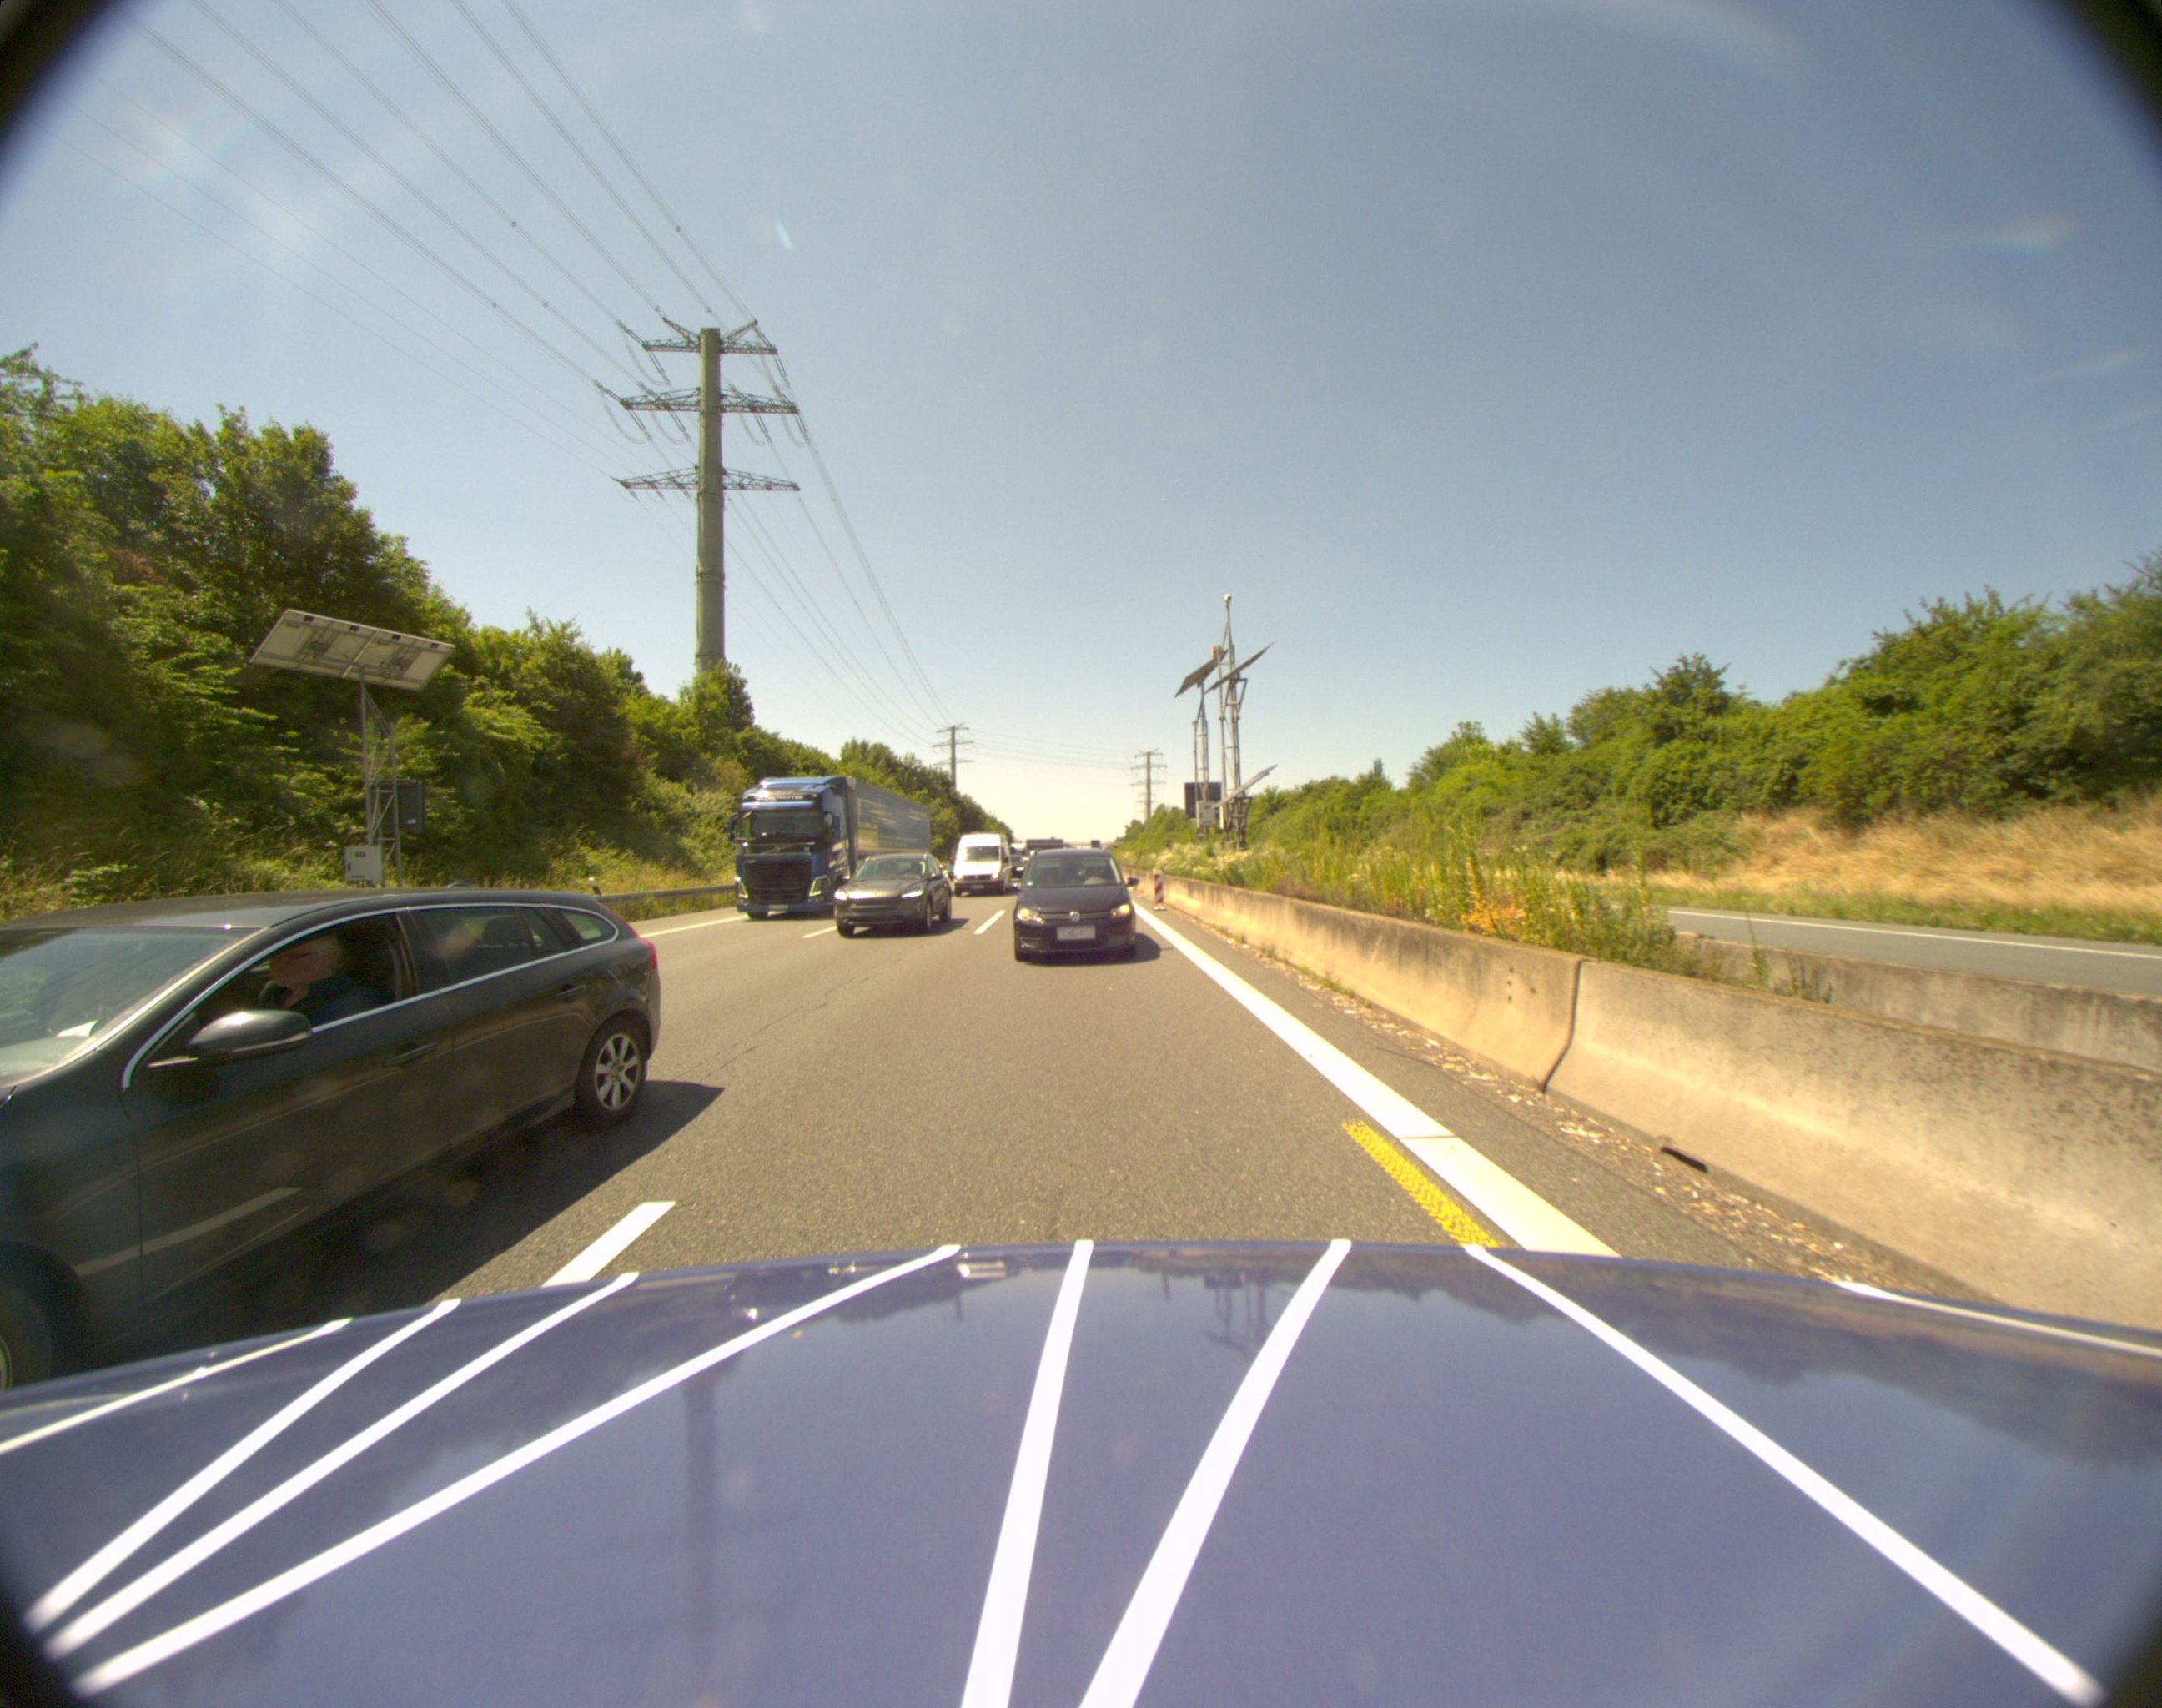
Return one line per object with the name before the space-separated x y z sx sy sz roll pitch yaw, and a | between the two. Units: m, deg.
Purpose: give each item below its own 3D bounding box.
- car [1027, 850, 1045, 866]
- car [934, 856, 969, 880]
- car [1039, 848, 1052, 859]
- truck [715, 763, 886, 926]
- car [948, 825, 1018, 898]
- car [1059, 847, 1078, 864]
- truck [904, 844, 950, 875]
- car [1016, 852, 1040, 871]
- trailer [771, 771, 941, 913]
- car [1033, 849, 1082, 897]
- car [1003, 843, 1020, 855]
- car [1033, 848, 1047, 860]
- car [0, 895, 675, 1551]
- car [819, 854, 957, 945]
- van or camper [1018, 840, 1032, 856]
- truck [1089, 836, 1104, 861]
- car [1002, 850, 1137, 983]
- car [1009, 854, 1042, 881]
car | -4.826 0.425 81.848 1.720 1.510 3.873 -2 1 0
car | -9.159 0.942 53.942 1.720 1.510 3.873 -2 1 0
car | -5.578 -0.103 119.800 1.720 1.510 3.873 -2 1 0
truck | -7.982 -0.281 22.505 2.792 4.121 5.635 -2 1 0
car | -3.997 0.244 32.259 2.042 2.703 6.704 -2 1 -1
car | -1.409 0.143 84.286 1.973 1.682 3.873 -2 1 0
truck | -11.587 0.354 57.614 2.253 2.155 5.728 -2 1 0
car | -4.500 0.613 64.855 1.720 1.510 3.873 -2 1 0
trailer | -8.060 -0.442 29.713 2.774 4.239 12.875 -2 1 -1
car | -0.861 0.667 29.618 1.700 1.641 4.219 -2 1 -1
car | -8.901 -0.672 97.663 1.720 1.510 3.873 -2 1 0
car | -5.749 -0.025 106.026 1.720 1.510 3.873 -2 1 0
car | -3.600 1.039 2.762 1.799 1.411 4.509 -2 1 -1
car | -4.004 0.858 16.515 1.893 1.602 4.219 -2 1 -1
van or camper | -9.393 -0.985 128.135 1.979 2.511 4.369 -2 1 0
truck | 2.128 -0.777 106.504 1.892 3.264 5.590 -2 1 0
car | -0.173 0.811 12.075 1.700 1.641 4.219 -2 1 -1
car | -3.387 0.806 46.978 1.720 1.510 3.873 -2 1 0
